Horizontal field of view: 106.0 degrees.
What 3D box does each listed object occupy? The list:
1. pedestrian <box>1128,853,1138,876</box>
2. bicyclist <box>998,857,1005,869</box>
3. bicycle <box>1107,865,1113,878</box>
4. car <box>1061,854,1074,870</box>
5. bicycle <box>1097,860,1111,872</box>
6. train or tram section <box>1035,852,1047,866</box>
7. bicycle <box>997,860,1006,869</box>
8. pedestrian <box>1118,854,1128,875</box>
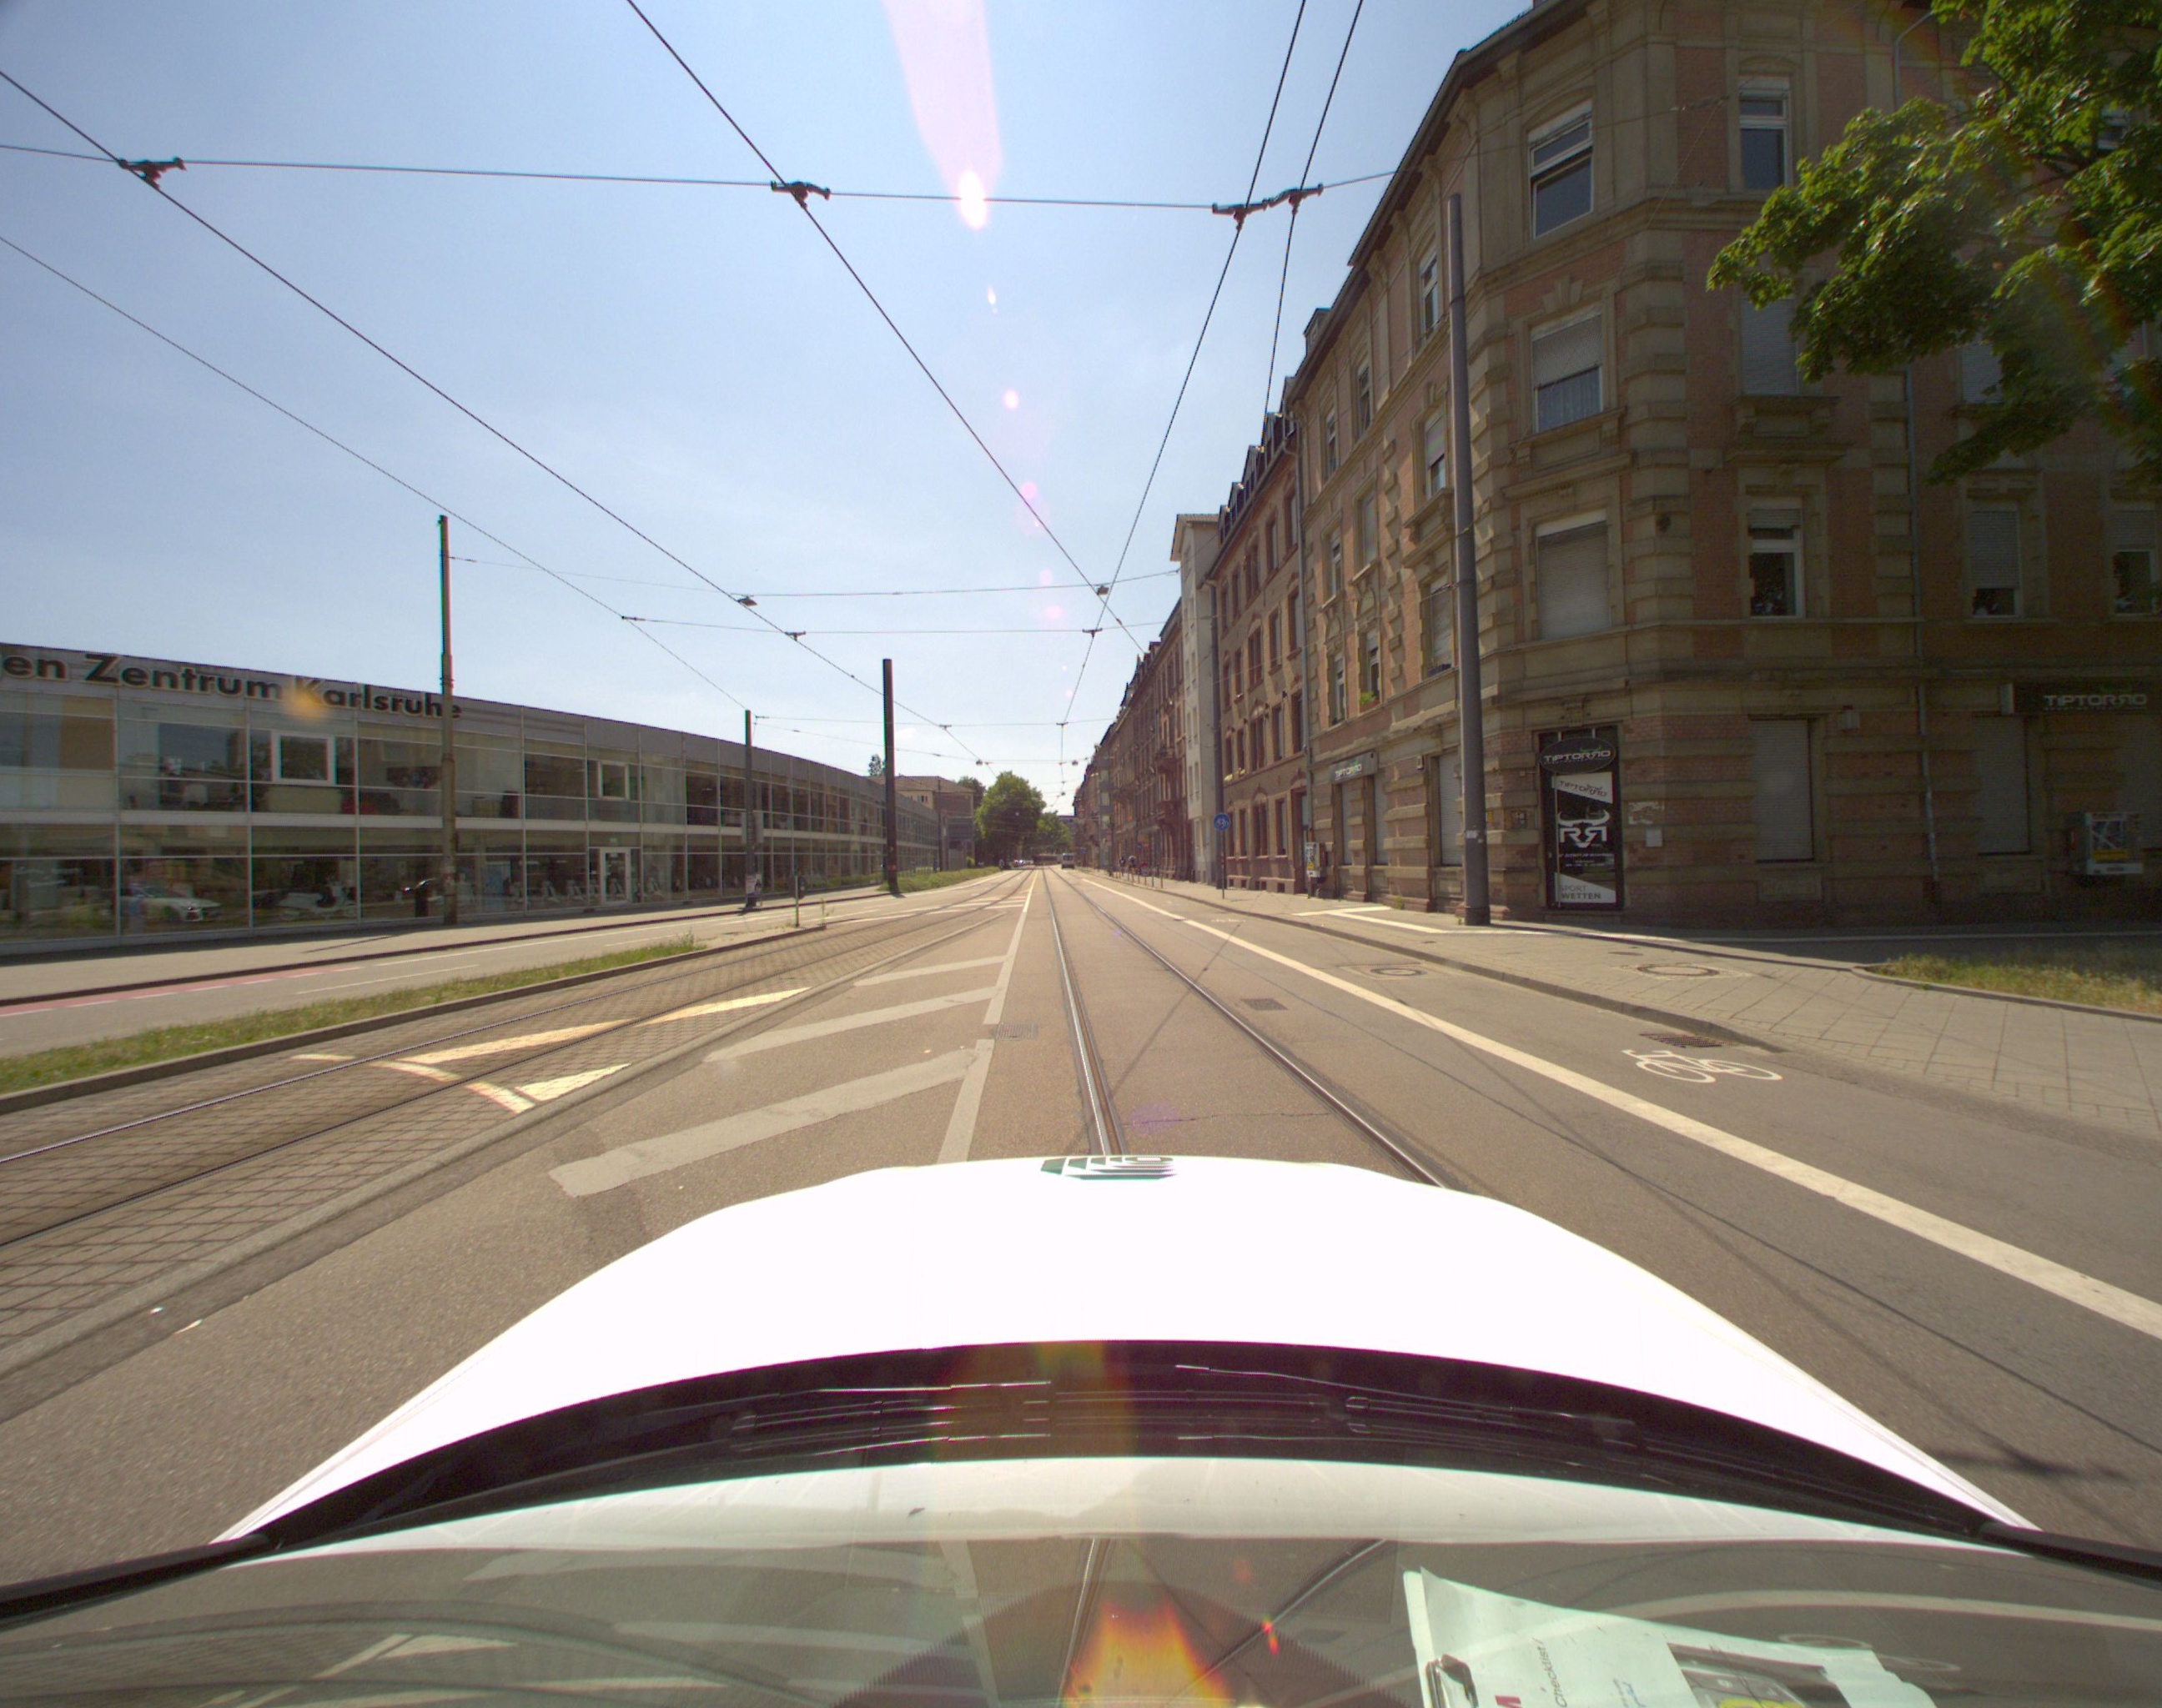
[{"bbox_3d":[4.431,0.905,69.380,0.700,1.849,0.643,-5,-1,-2],"label":"pedestrian"},{"bbox_3d":[-10.656,1.205,109.384,0.694,1.548,0.981,-2,-1,5],"label":"bicyclist"},{"bbox_3d":[2.536,1.485,70.296,0.446,1.097,2.424,-2,-1,3],"label":"bicycle"},{"bbox_3d":[-2.177,1.334,130.982,2.062,2.501,5.450,0,-1,-2],"label":"car"},{"bbox_3d":[2.214,1.157,77.794,0.494,1.130,2.256,-2,-1,26],"label":"bicycle"},{"bbox_3d":[-10.864,1.334,220.527,2.954,3.580,13.406,-1,0,-3],"label":"train or tram section"},{"bbox_3d":[-10.659,1.398,109.205,0.694,1.144,2.499,-2,-1,5],"label":"bicycle"},{"bbox_3d":[3.561,0.877,69.430,0.718,1.720,0.643,-2,-1,-2],"label":"pedestrian"}]
